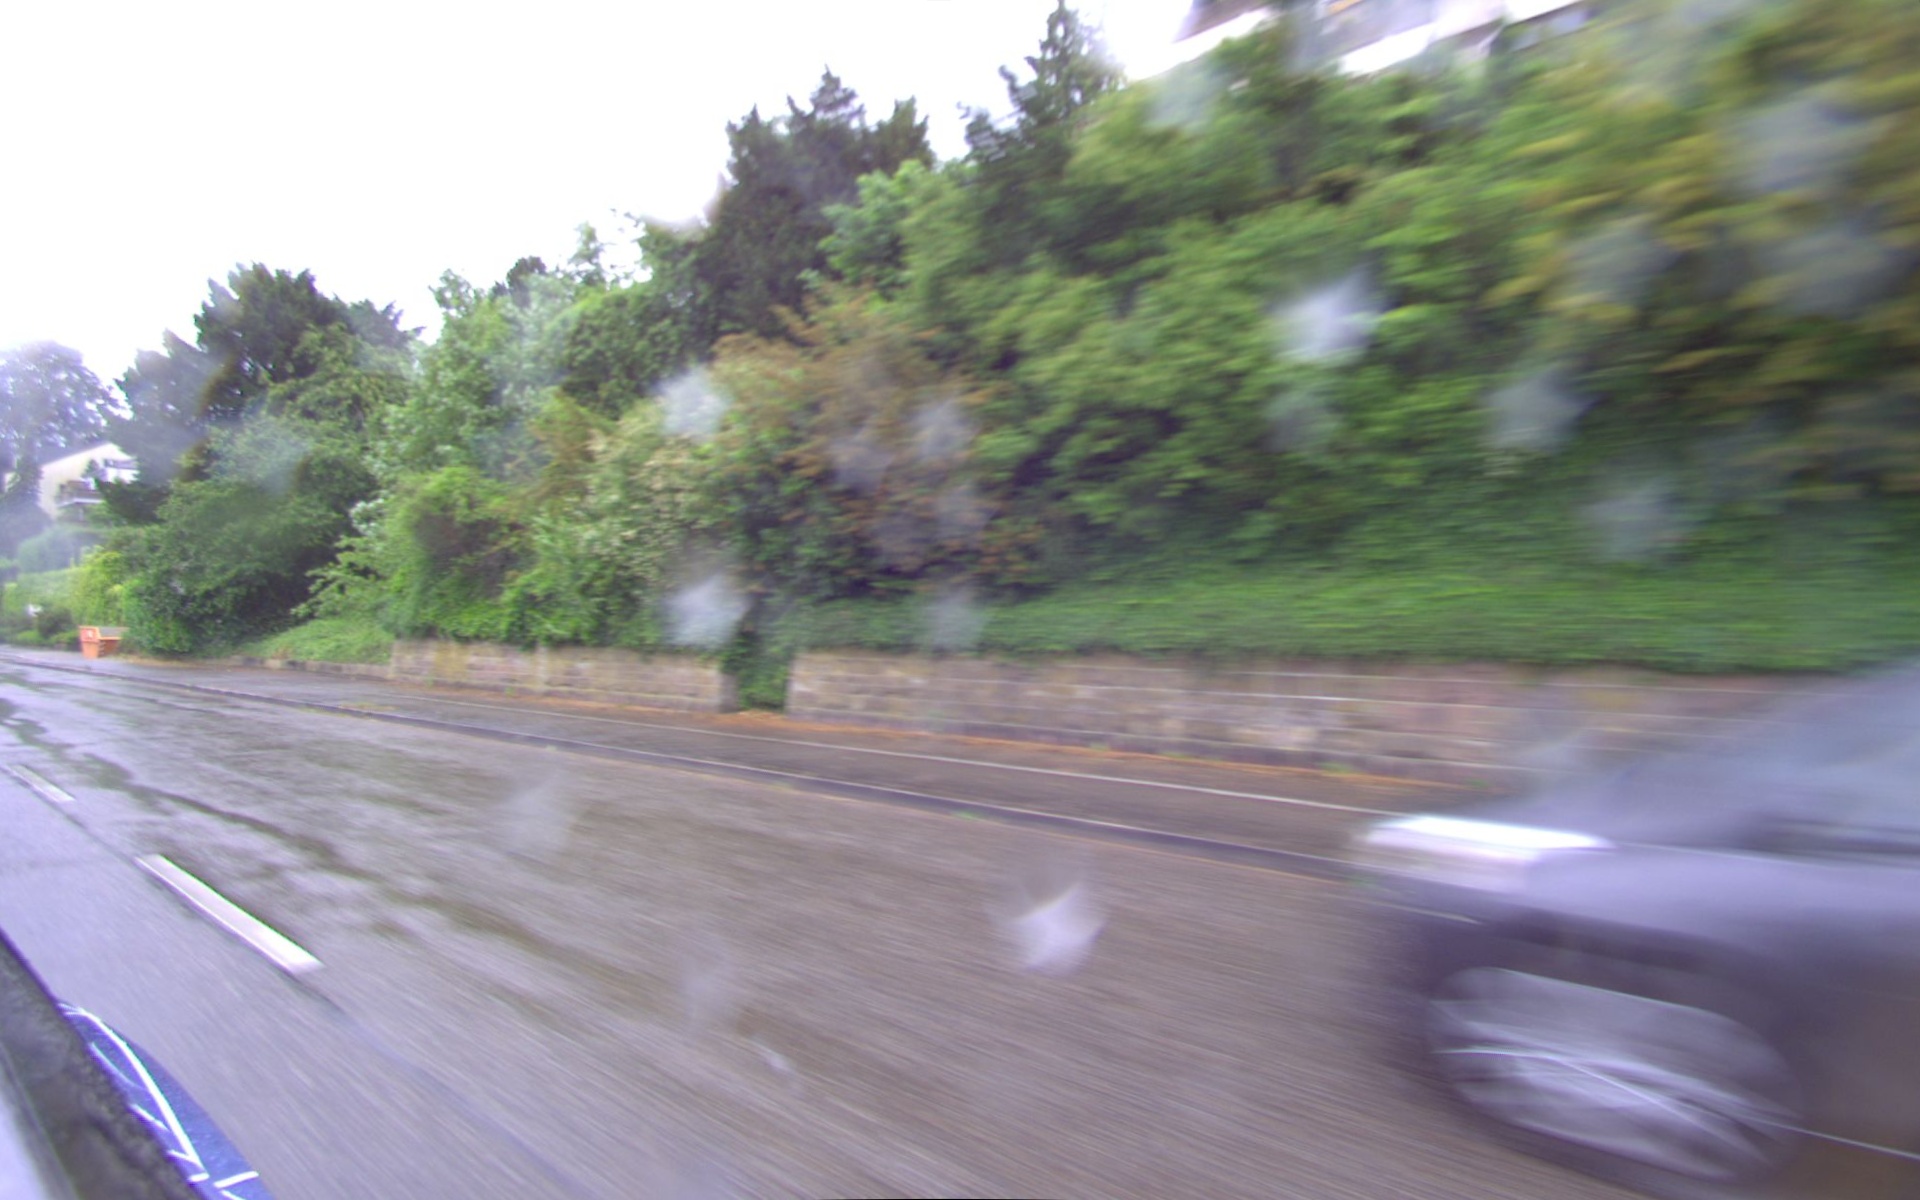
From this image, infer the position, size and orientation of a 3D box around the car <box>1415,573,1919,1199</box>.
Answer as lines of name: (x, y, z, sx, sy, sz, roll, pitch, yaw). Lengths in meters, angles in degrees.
car: (3.159, 0.694, 2.180, 3.702, 1.453, 1.576, -1, -4, 40)
